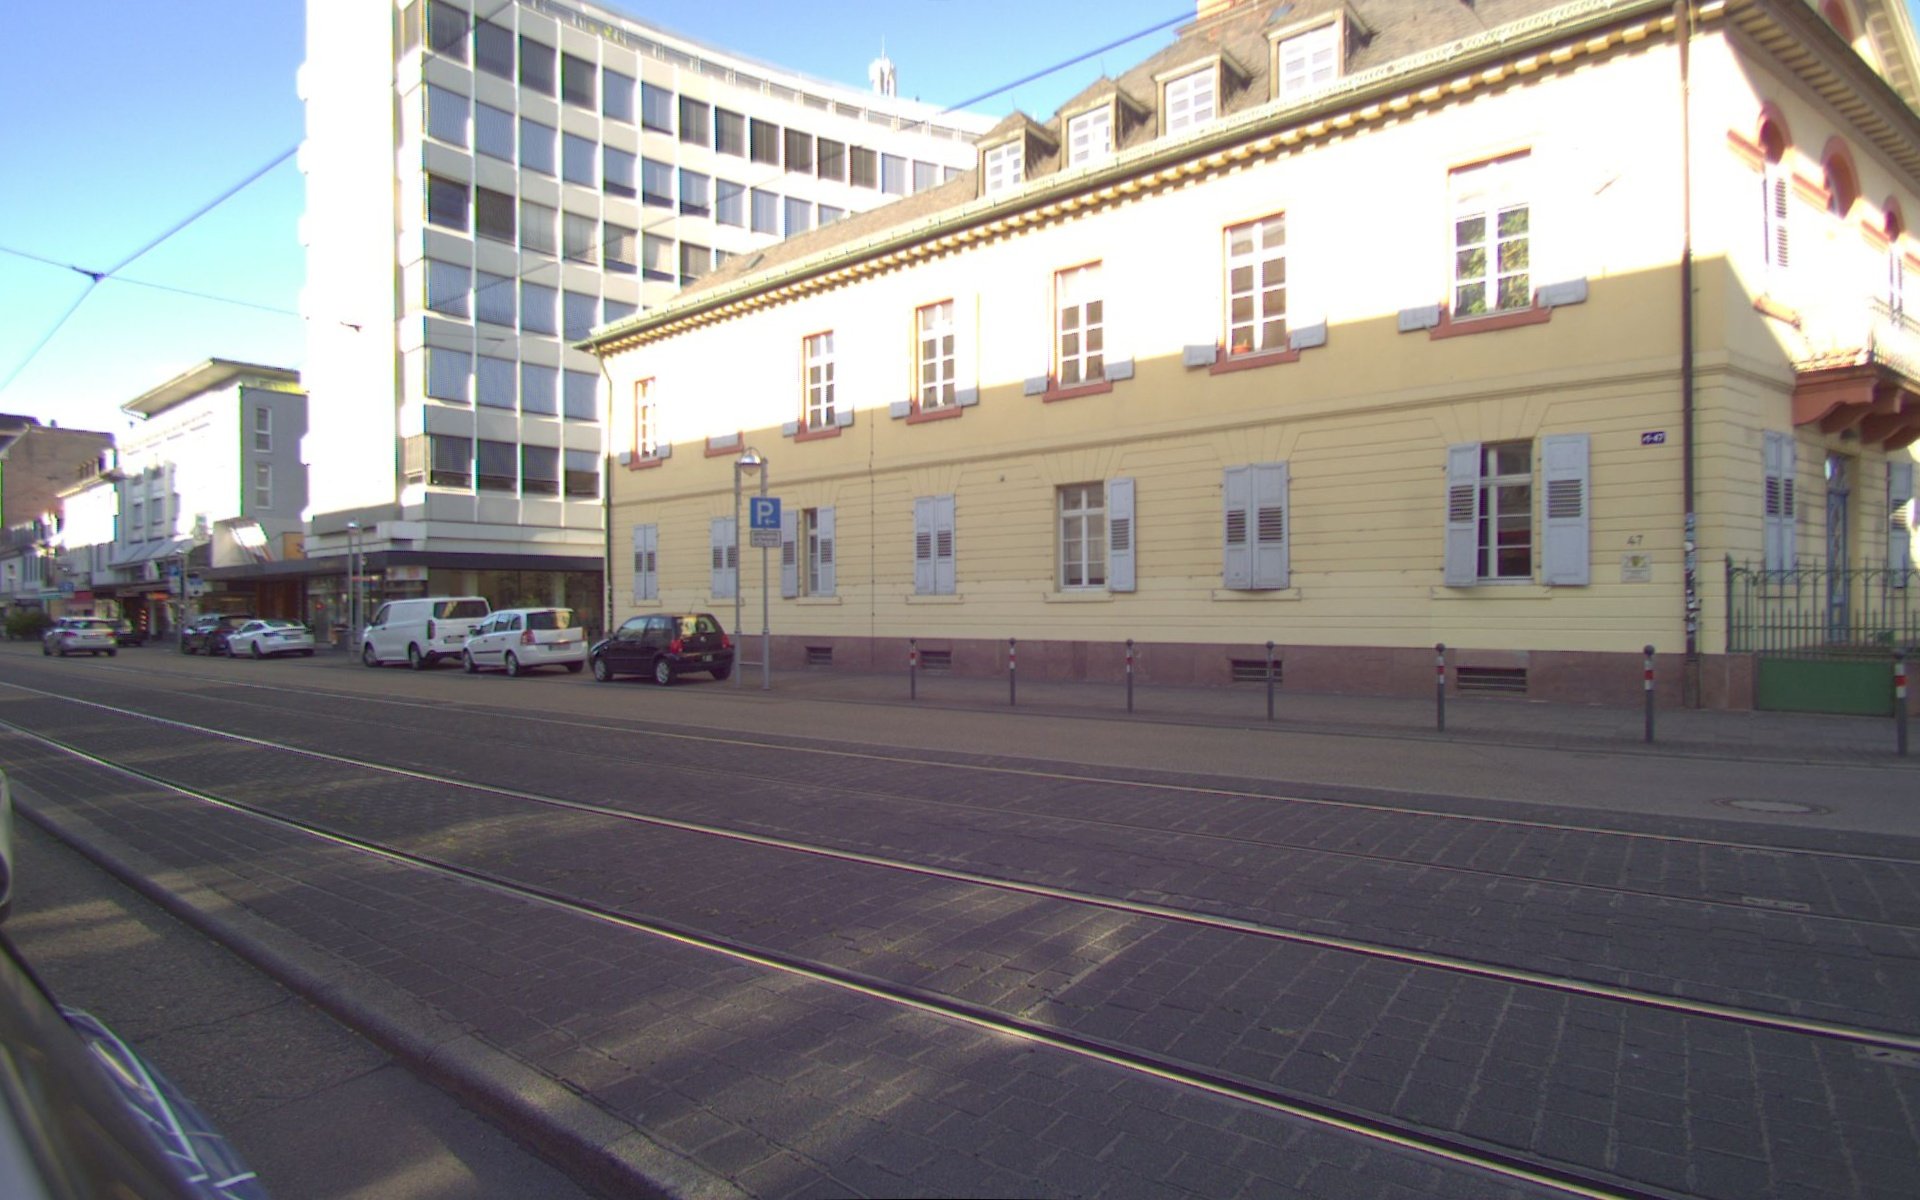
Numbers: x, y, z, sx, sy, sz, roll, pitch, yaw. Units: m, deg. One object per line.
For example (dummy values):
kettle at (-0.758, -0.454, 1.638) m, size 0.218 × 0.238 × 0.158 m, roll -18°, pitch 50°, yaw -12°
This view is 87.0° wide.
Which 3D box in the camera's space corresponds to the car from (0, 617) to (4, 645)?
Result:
car at (-71.575, 2.268, 74.040) m, size 3.998 × 2.029 × 1.973 m, roll -1°, pitch -1°, yaw 41°

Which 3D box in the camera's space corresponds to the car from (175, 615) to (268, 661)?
car at (-29.914, 1.490, 40.960) m, size 4.103 × 1.717 × 1.975 m, roll -1°, pitch 0°, yaw 38°

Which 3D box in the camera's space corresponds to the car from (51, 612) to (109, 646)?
car at (-50.286, 1.653, 57.814) m, size 3.994 × 1.896 × 1.768 m, roll -1°, pitch -1°, yaw 38°

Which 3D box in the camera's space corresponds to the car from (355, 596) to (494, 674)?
car at (-15.358, 0.969, 28.945) m, size 4.619 × 2.029 × 2.014 m, roll -1°, pitch -1°, yaw 41°

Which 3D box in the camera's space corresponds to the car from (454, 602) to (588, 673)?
car at (-11.036, 0.891, 25.313) m, size 4.005 × 1.621 × 1.619 m, roll -1°, pitch 0°, yaw 43°

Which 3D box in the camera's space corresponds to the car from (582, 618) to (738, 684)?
car at (-6.398, 1.027, 21.515) m, size 3.210 × 1.263 × 1.667 m, roll -1°, pitch 0°, yaw 39°

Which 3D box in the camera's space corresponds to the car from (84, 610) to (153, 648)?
car at (-43.417, 1.477, 52.199) m, size 3.995 × 1.874 × 1.974 m, roll -1°, pitch 0°, yaw 38°

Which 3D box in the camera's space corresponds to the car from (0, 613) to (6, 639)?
car at (-78.844, 2.118, 81.810) m, size 3.995 × 2.029 × 1.974 m, roll -1°, pitch 0°, yaw 38°

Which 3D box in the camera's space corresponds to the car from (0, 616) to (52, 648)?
car at (-62.933, 2.121, 68.059) m, size 3.996 × 2.058 × 2.172 m, roll -1°, pitch -1°, yaw 39°

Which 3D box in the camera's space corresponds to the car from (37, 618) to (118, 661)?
car at (-35.230, 1.548, 40.374) m, size 3.994 × 1.609 × 1.739 m, roll -1°, pitch -1°, yaw 38°

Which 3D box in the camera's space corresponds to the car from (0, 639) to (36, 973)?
car at (-6.131, 0.900, 4.786) m, size 3.992 × 1.393 × 1.862 m, roll -1°, pitch 0°, yaw 36°

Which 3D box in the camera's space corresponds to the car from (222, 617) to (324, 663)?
car at (-25.593, 1.444, 37.644) m, size 4.369 × 1.541 × 1.974 m, roll -1°, pitch 0°, yaw 39°
